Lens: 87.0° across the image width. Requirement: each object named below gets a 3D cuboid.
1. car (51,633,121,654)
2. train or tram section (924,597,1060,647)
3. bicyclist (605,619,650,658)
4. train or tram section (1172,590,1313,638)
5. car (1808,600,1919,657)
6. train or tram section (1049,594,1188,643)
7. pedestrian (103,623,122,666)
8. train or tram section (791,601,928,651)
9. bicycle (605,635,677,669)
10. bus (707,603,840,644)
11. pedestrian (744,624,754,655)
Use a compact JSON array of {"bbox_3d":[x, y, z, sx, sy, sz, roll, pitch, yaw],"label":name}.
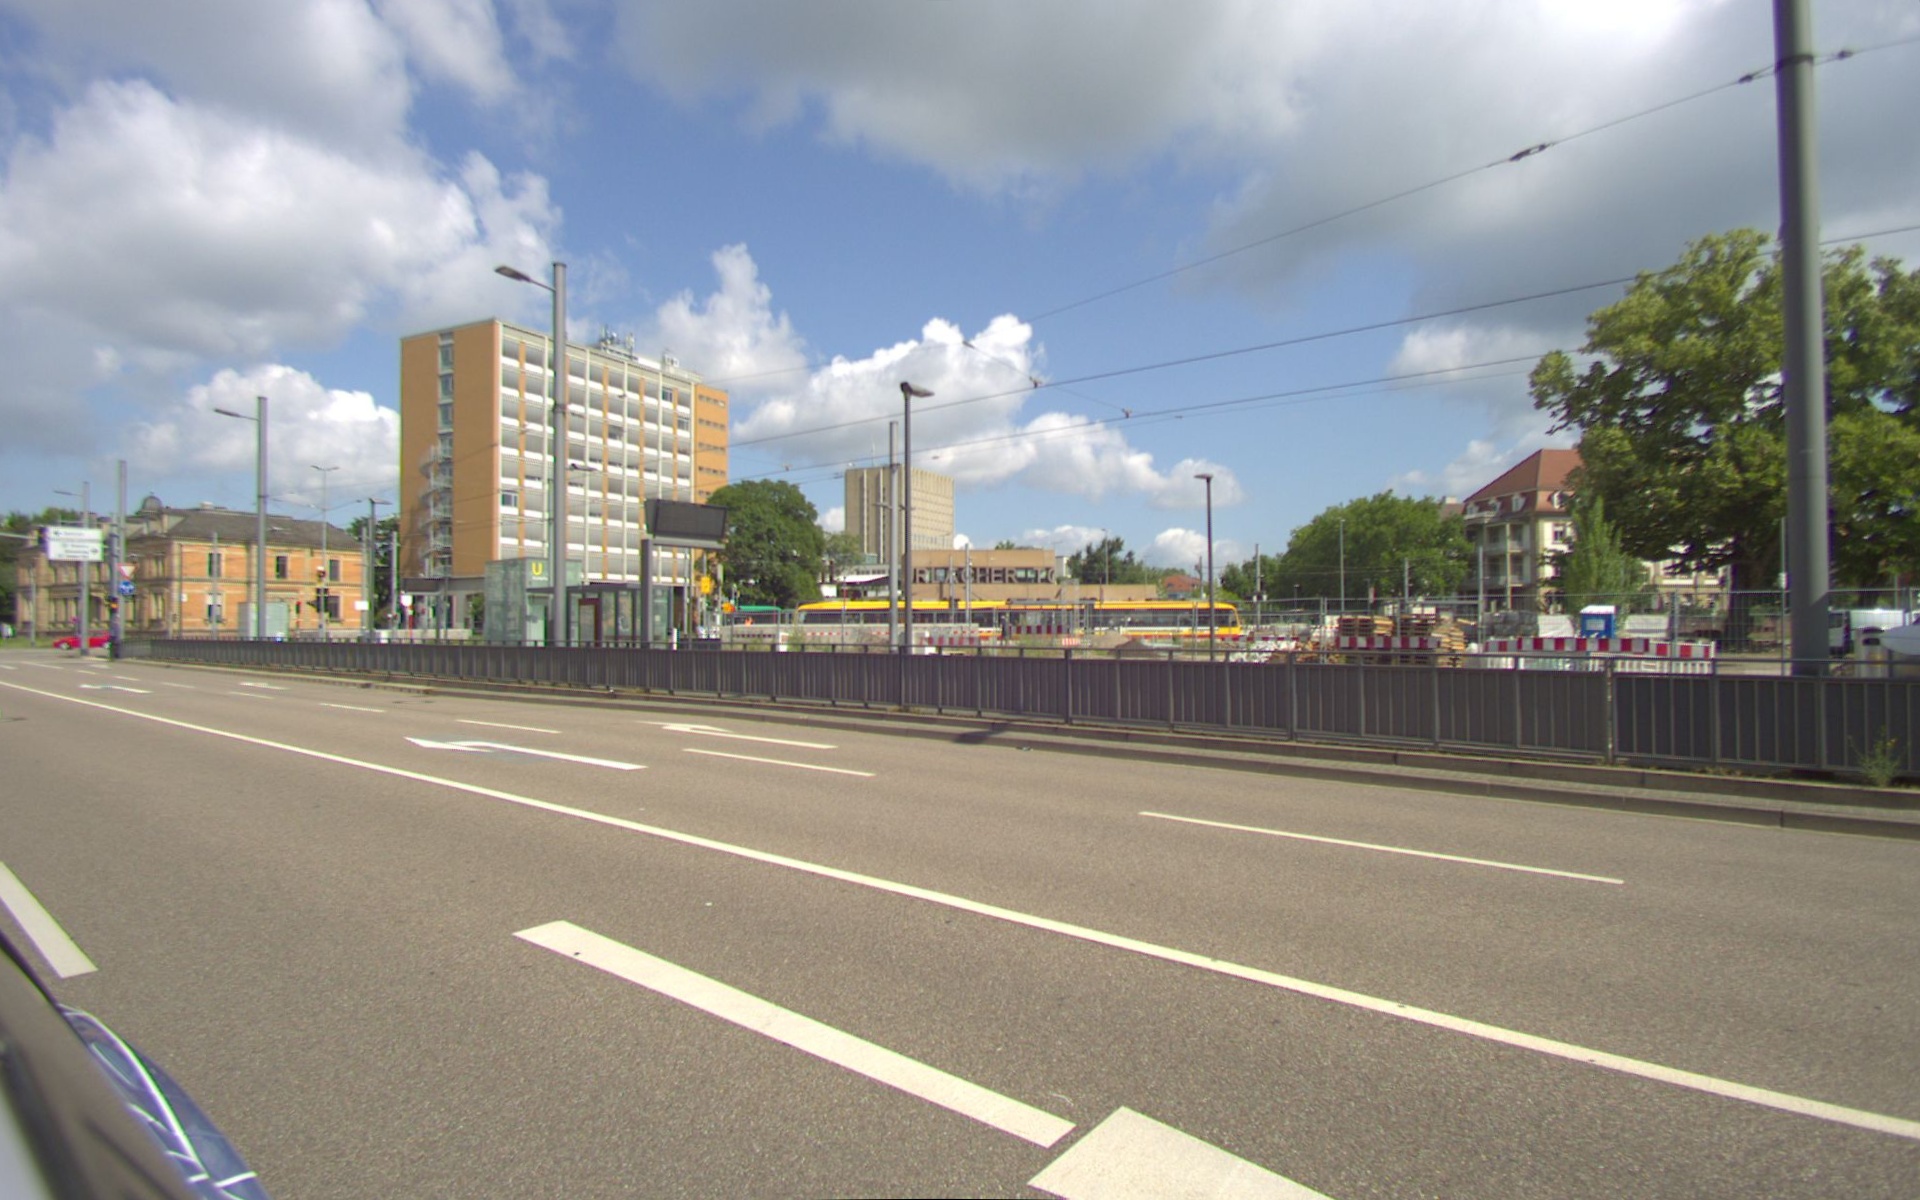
[{"bbox_3d":[-69.144,3.457,80.123,3.998,1.479,1.650,0,-4,-36],"label":"car"},{"bbox_3d":[2.482,1.805,81.037,10.444,3.507,3.328,-2,-3,-6],"label":"train or tram section"},{"bbox_3d":[-14.874,1.730,45.305,1.682,1.696,1.166,-2,-3,38],"label":"bicyclist"},{"bbox_3d":[23.135,1.181,83.160,10.444,3.507,3.328,-2,-3,-6],"label":"train or tram section"},{"bbox_3d":[37.476,1.140,40.795,4.590,2.154,1.936,-2,-2,8],"label":"car"},{"bbox_3d":[12.764,1.534,82.089,10.444,3.507,3.328,-2,-3,-6],"label":"train or tram section"},{"bbox_3d":[-39.963,2.104,47.736,0.513,2.029,0.498,-2,-2,28],"label":"pedestrian"},{"bbox_3d":[-7.935,2.069,79.907,10.444,3.507,3.328,-2,-3,-6],"label":"train or tram section"},{"bbox_3d":[-14.094,2.284,44.667,3.689,1.438,1.182,-2,-3,39],"label":"bicycle"},{"bbox_3d":[-17.109,2.193,93.722,12.177,3.648,2.922,1,-2,-38],"label":"bus"},{"bbox_3d":[-12.598,2.350,60.522,0.553,1.808,0.721,0,-2,-8],"label":"pedestrian"}]
